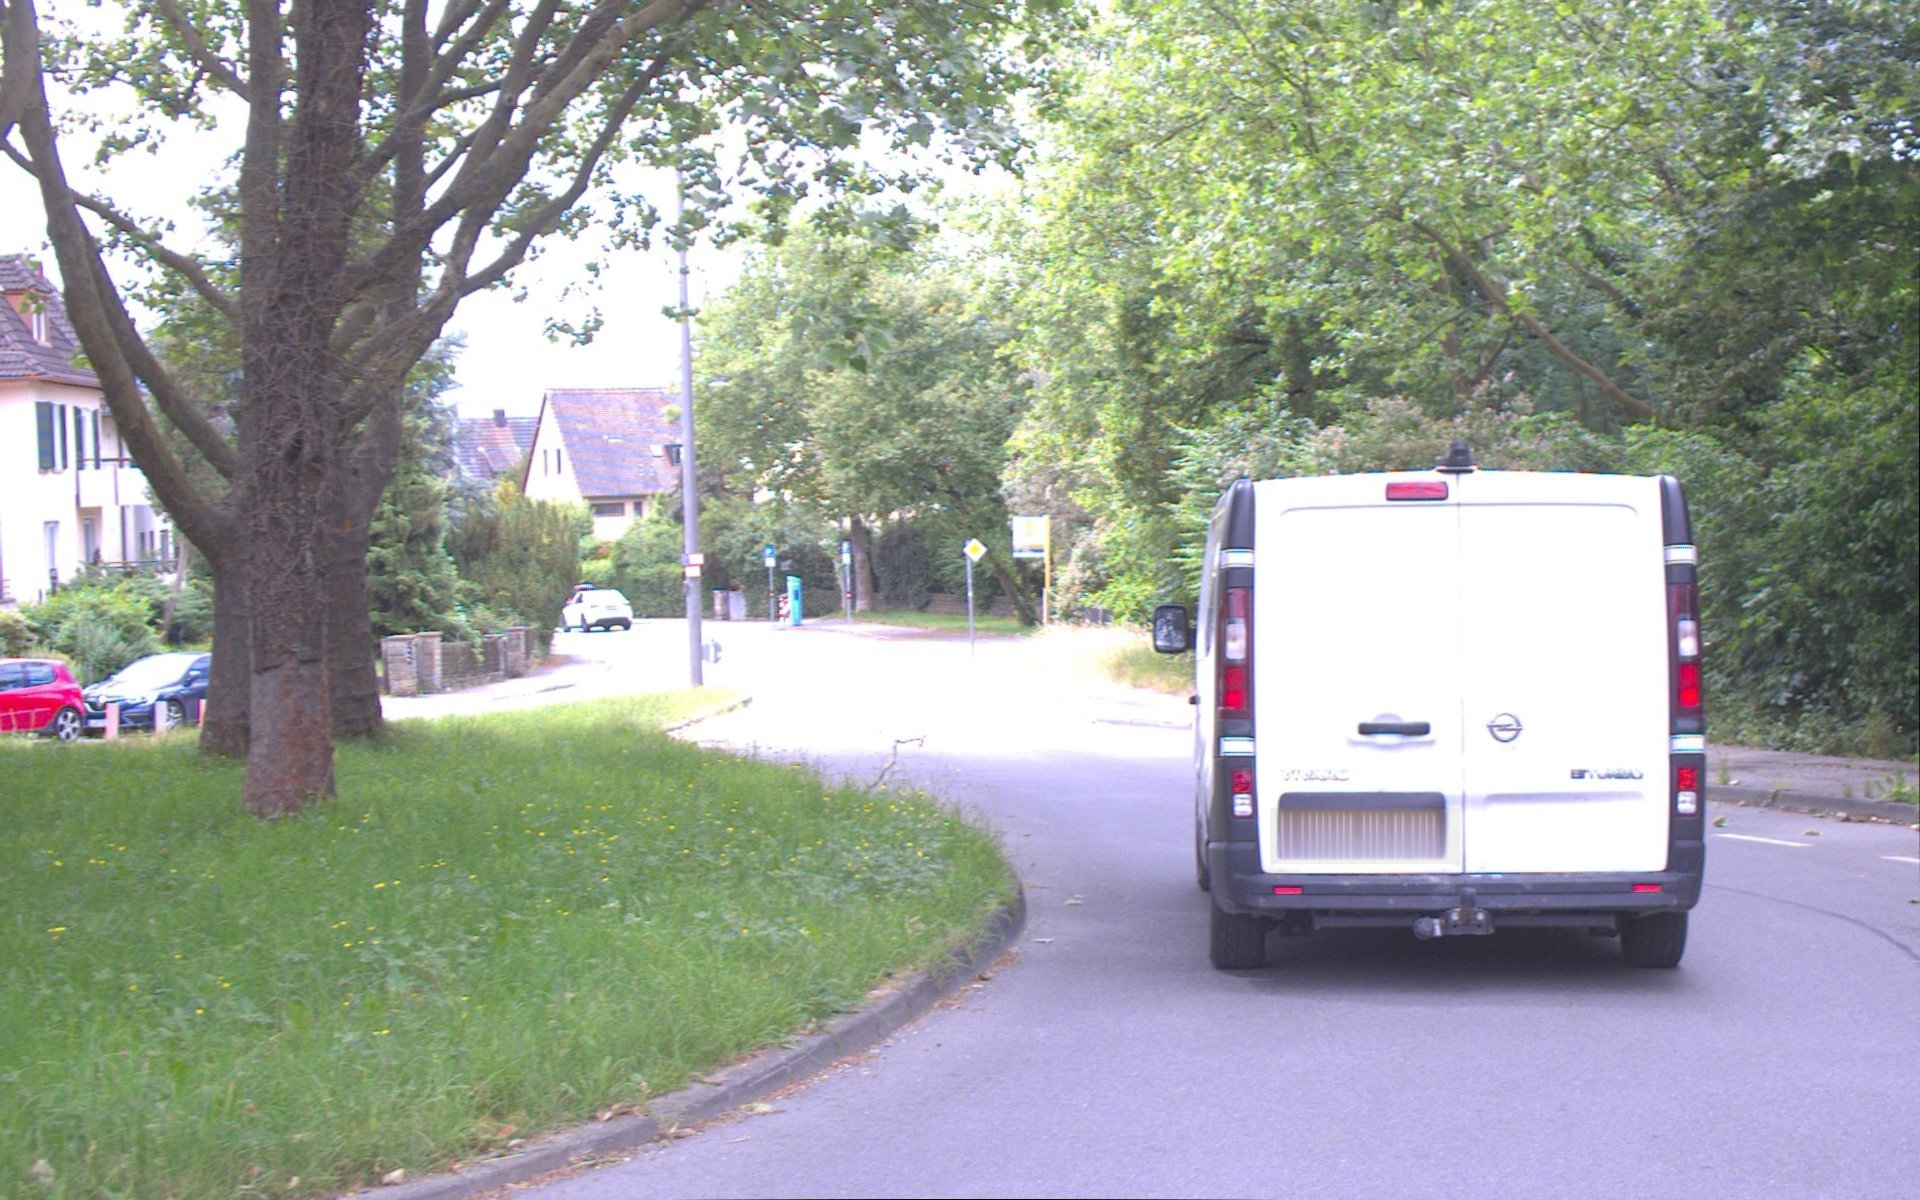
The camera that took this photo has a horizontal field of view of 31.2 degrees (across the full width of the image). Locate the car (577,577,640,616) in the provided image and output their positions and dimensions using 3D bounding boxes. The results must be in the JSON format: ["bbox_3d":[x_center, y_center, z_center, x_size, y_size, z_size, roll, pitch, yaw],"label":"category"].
[{"bbox_3d":[-13.917,-0.133,135.971,1.726,1.469,3.382,-1,0,-19],"label":"car"}]

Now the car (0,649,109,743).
[{"bbox_3d":[-16.191,1.612,56.745,1.730,1.469,4.272,-1,0,28],"label":"car"}]

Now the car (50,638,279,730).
[{"bbox_3d":[-14.071,1.474,61.071,1.729,1.469,4.309,-1,0,23],"label":"car"}]

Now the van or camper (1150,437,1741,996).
[{"bbox_3d":[1.892,0.330,14.851,1.924,2.006,4.830,-1,2,1],"label":"van or camper"}]
